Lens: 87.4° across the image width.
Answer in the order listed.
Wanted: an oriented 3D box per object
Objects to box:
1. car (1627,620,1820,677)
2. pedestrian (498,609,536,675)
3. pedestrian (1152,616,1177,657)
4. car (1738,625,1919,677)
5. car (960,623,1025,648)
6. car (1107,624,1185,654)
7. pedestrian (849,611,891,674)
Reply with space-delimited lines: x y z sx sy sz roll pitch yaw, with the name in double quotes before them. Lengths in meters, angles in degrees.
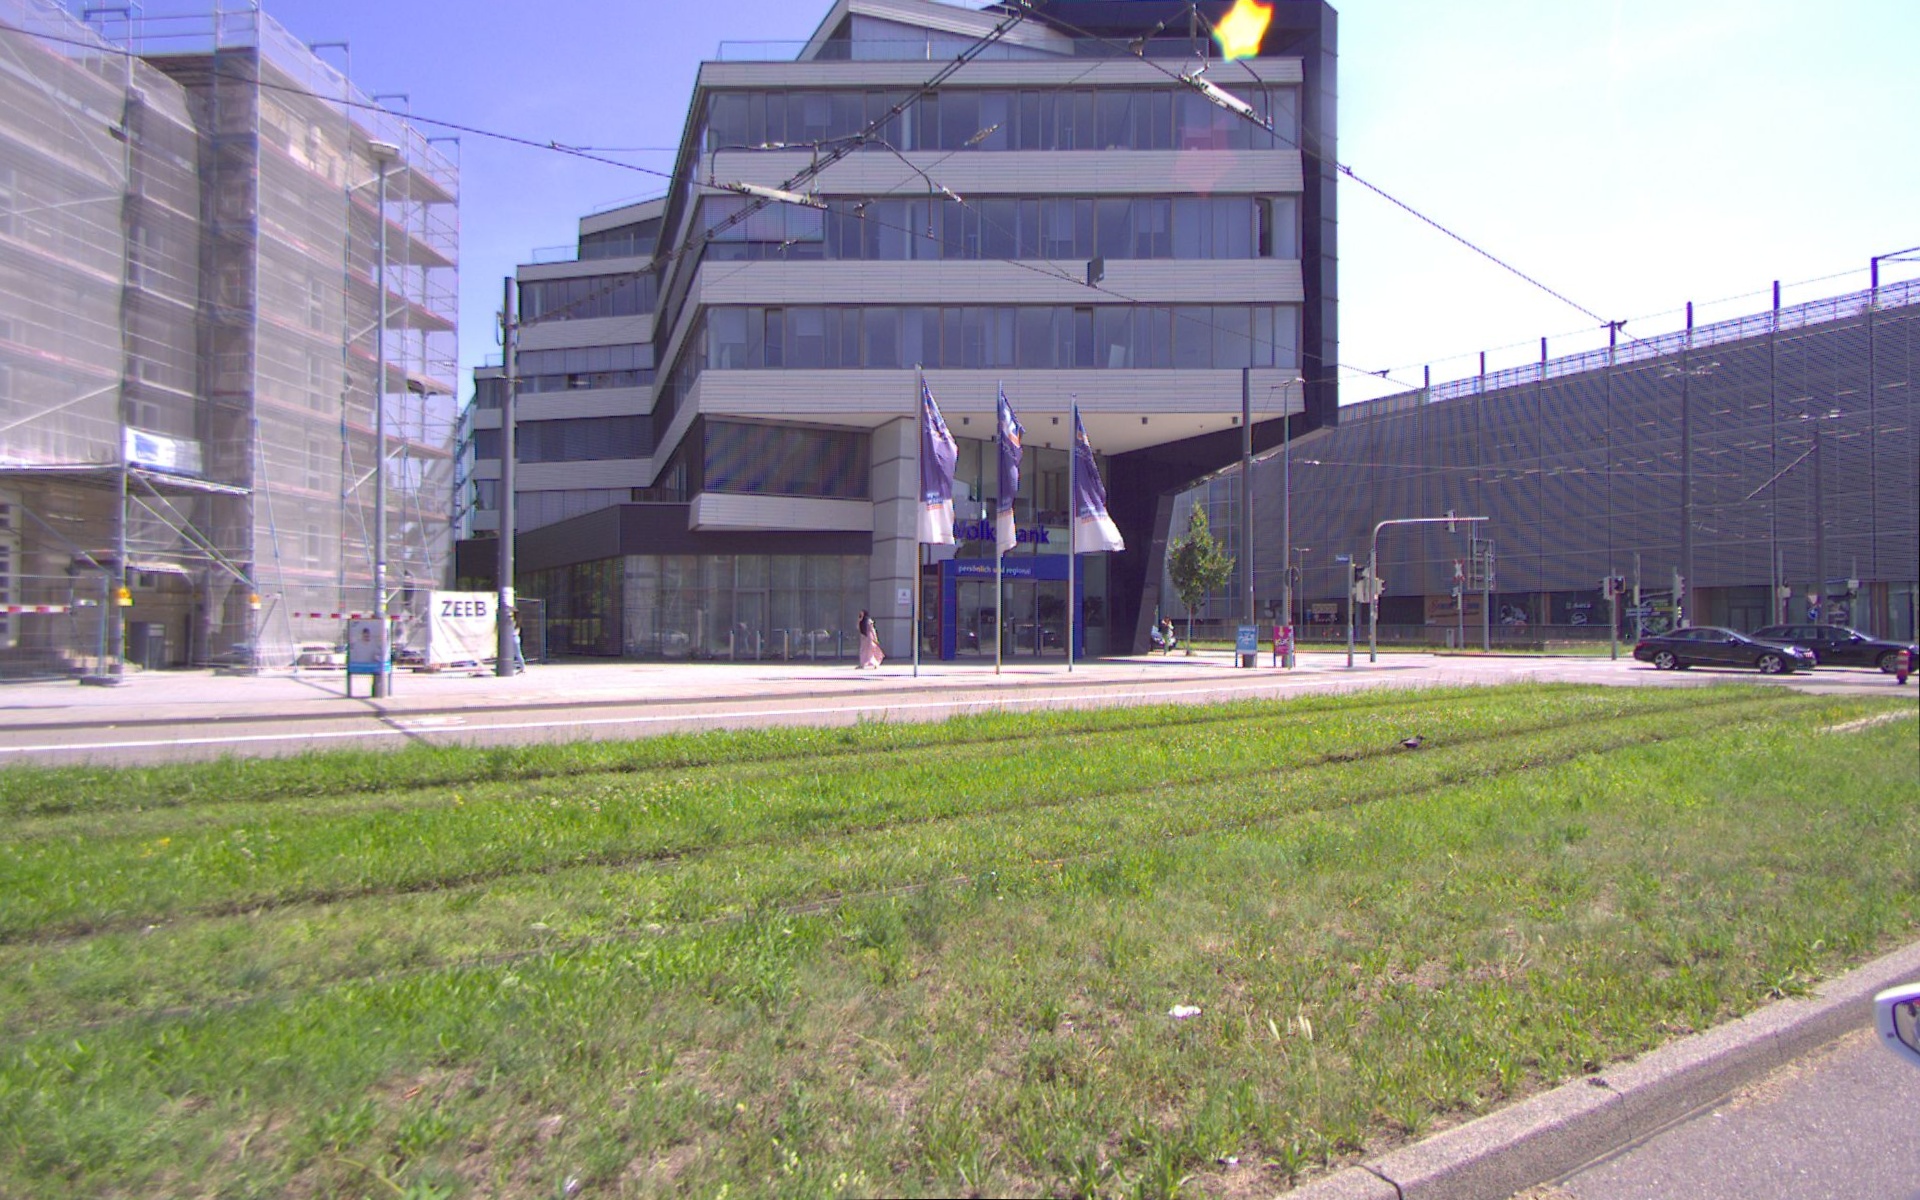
"car" 24.024 1.479 31.749 1.981 1.597 4.517 0 0 -36
"pedestrian" -10.602 0.995 24.044 0.578 1.539 0.581 0 0 18
"pedestrian" 8.932 1.587 43.841 0.888 1.770 0.976 0 0 26
"car" 28.092 1.573 32.163 1.869 1.480 4.732 0 0 -36
"car" 2.259 2.459 71.029 1.983 1.602 4.816 0 0 -39
"car" 10.845 2.258 58.732 1.982 1.574 4.287 0 0 -37
"pedestrian" -2.425 1.126 27.125 0.736 1.652 0.913 0 0 32
